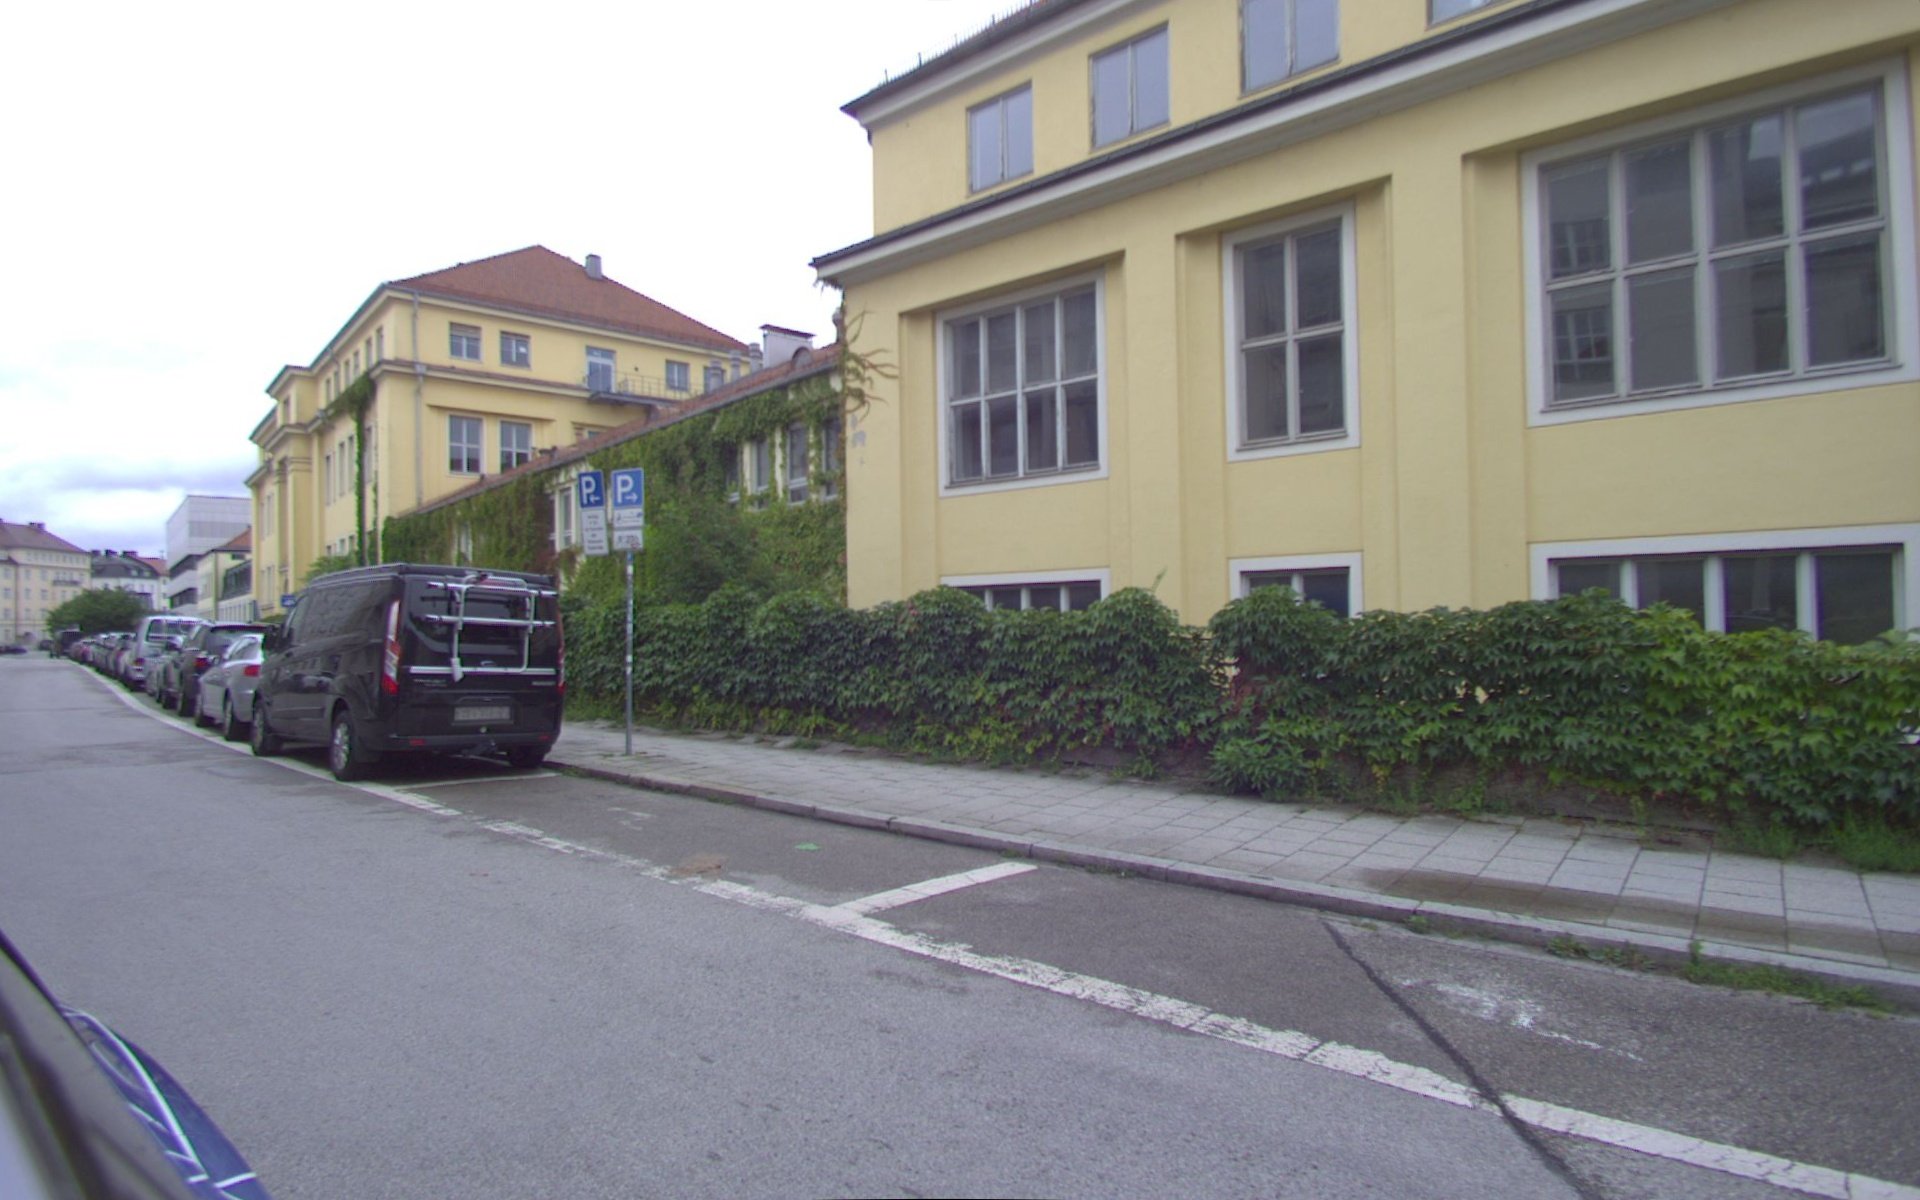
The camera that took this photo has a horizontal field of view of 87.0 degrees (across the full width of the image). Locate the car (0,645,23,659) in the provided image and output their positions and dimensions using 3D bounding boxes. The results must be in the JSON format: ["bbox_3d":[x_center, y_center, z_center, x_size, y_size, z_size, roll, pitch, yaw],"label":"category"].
[{"bbox_3d":[-129.177,6.994,136.304,2.000,1.874,4.190,-3,-4,42],"label":"car"}]

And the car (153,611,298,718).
[{"bbox_3d":[-13.574,1.110,18.599,1.600,1.743,4.429,1,-2,-43],"label":"car"}]

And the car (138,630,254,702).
[{"bbox_3d":[-17.065,1.401,22.517,1.681,1.433,4.430,1,-2,-42],"label":"car"}]

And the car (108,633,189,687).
[{"bbox_3d":[-24.516,1.801,30.545,1.559,1.504,3.734,5,-5,-43],"label":"car"}]

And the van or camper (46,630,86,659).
[{"bbox_3d":[-87.602,4.392,99.109,5.569,2.829,2.113,-3,-4,41],"label":"van or camper"}]

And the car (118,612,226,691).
[{"bbox_3d":[-20.726,1.299,26.535,1.969,1.890,4.764,1,-2,-41],"label":"car"}]

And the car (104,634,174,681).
[{"bbox_3d":[-27.783,1.904,34.208,1.559,1.466,3.908,1,-2,-43],"label":"car"}]

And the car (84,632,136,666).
[{"bbox_3d":[-43.745,2.501,52.045,4.359,1.646,1.661,-2,-2,45],"label":"car"}]

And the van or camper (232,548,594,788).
[{"bbox_3d":[-6.166,0.700,11.145,4.752,2.081,1.940,-2,-5,42],"label":"van or camper"}]

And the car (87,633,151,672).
[{"bbox_3d":[-35.587,2.175,42.800,1.761,1.549,4.198,0,-2,-44],"label":"car"}]

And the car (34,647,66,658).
[{"bbox_3d":[-149.834,8.659,166.679,3.938,1.874,2.002,2,-4,-42],"label":"car"}]

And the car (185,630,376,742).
[{"bbox_3d":[-9.939,1.142,14.682,1.601,1.388,4.074,1,-2,-44],"label":"car"}]

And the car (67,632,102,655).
[{"bbox_3d":[-62.792,3.087,72.590,1.655,1.578,4.000,1,-2,-44],"label":"car"}]

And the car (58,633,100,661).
[{"bbox_3d":[-50.697,2.693,58.213,1.659,1.507,3.990,3,-4,-42],"label":"car"}]
